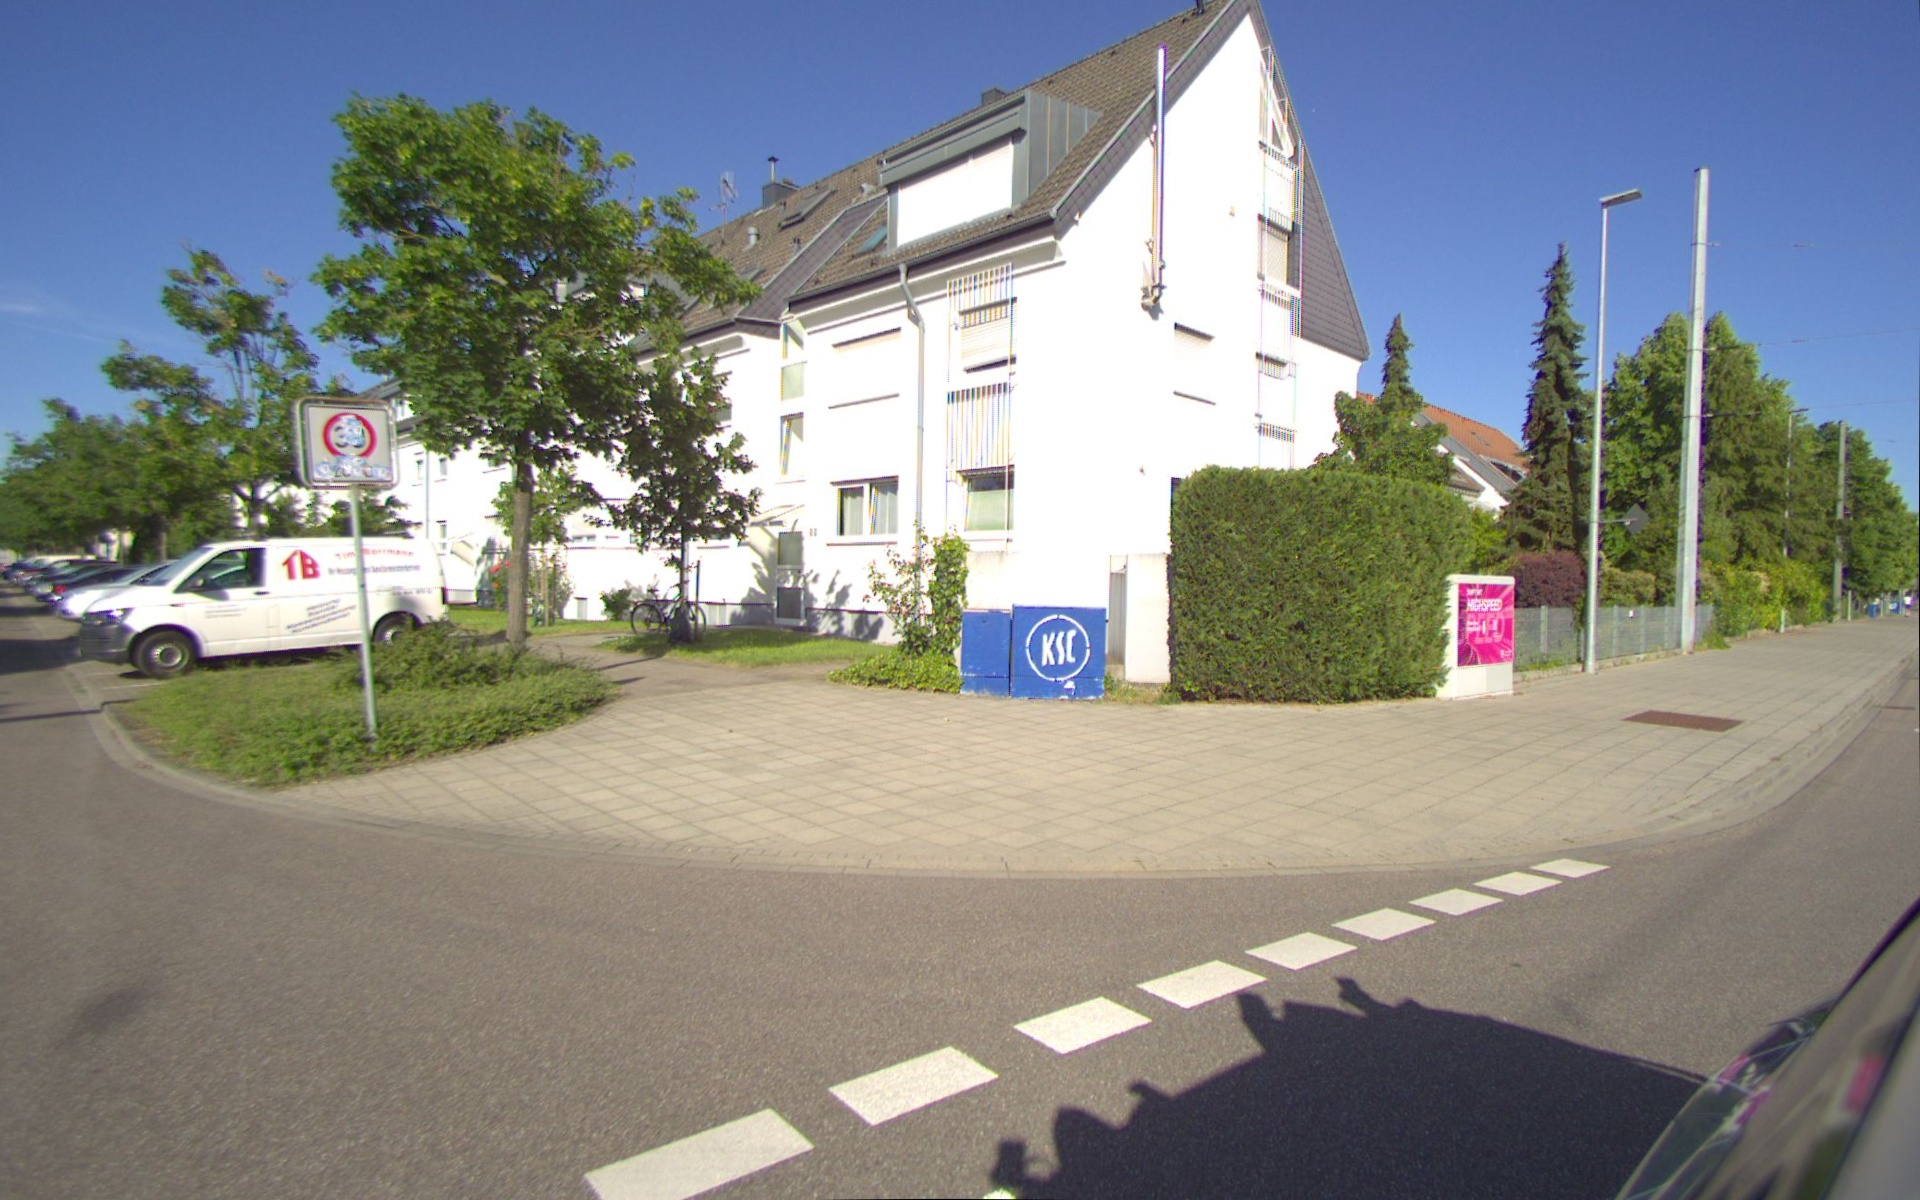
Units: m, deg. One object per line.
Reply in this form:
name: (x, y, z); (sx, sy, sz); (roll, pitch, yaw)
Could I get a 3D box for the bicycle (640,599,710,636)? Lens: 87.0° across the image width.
bicycle: (-5.411, 0.321, 19.280); (0.307, 0.686, 1.403); (-1, 0, 36)

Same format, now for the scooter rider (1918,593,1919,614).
scooter rider: (82.335, 0.340, 86.577); (0.550, 1.789, 0.589); (0, -1, 45)

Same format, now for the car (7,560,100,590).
car: (-55.914, -1.554, 62.478); (1.848, 1.728, 4.143); (2, 1, 43)

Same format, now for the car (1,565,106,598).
car: (-49.311, -0.988, 55.098); (1.848, 1.728, 4.143); (2, 1, 43)

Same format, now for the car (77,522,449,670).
car: (-10.721, -0.089, 15.824); (4.572, 1.974, 1.831); (-1, 1, -45)

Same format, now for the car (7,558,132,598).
car: (-40.374, -0.964, 45.935); (1.848, 1.728, 4.143); (2, 1, 43)

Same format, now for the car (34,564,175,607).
car: (-32.002, -0.535, 37.908); (1.695, 1.500, 3.880); (2, 1, 43)

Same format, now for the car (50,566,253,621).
car: (-24.540, -0.193, 30.853); (1.994, 1.524, 4.622); (2, 1, 43)

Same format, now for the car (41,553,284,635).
car: (-19.602, -0.151, 25.034); (1.704, 1.835, 4.516); (2, 1, 43)
